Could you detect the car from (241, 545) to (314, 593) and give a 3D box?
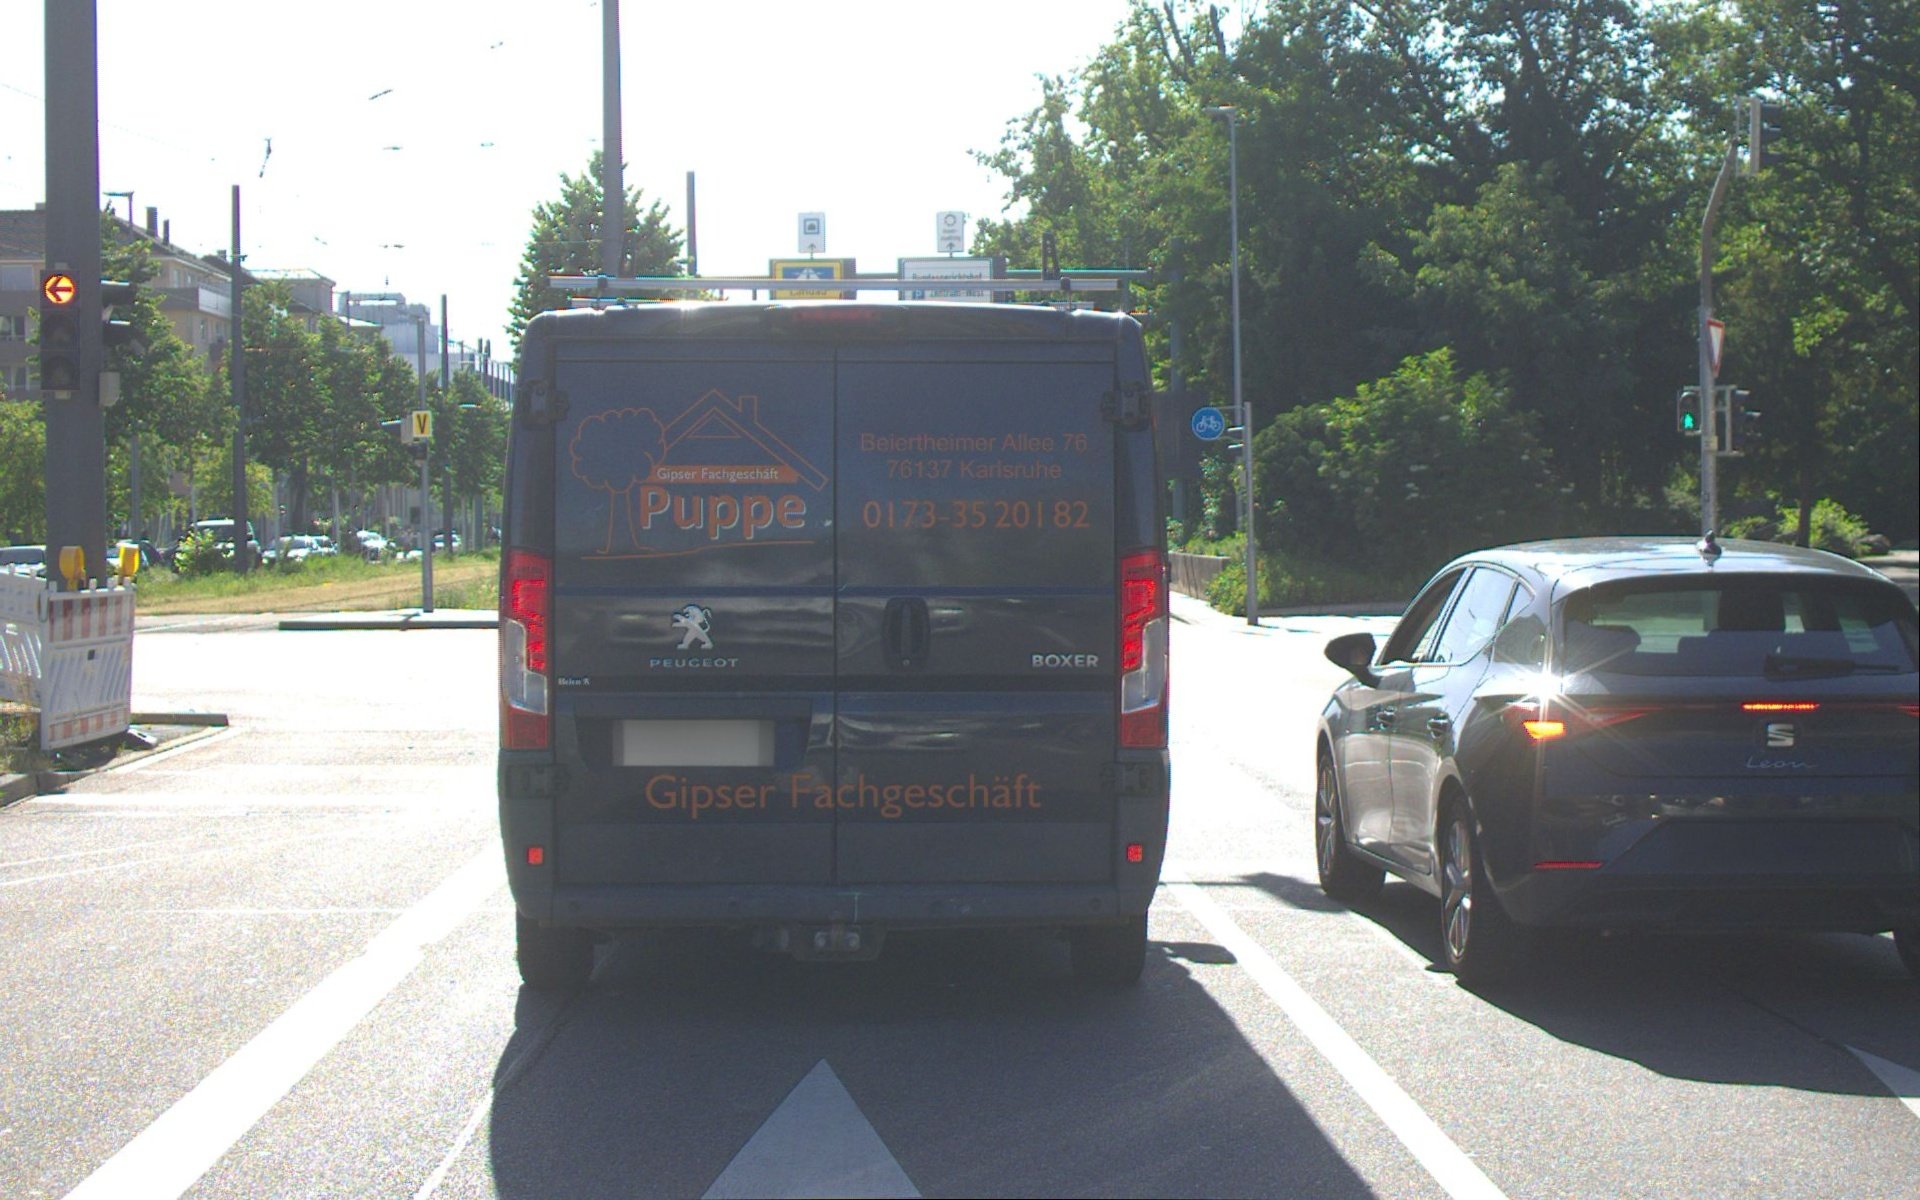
[{"bbox_3d":[-24.378,-1.127,122.919,1.790,1.645,4.000,-1,1,-1],"label":"car"}]

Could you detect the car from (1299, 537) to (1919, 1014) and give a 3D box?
[{"bbox_3d":[2.382,0.496,12.246,1.791,1.423,3.850,0,1,-3],"label":"car"}]

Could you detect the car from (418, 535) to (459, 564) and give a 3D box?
[{"bbox_3d":[-31.002,-2.995,204.473,1.790,1.645,4.000,-1,1,-1],"label":"car"}]

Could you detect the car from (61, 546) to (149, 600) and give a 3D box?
[{"bbox_3d":[-27.158,-0.872,109.316,1.790,1.645,4.000,-1,1,-1],"label":"car"}]

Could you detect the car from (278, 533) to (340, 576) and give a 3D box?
[{"bbox_3d":[-26.464,-1.863,139.886,1.790,1.645,4.000,-1,1,-1],"label":"car"}]

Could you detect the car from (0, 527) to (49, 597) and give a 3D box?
[{"bbox_3d":[-23.643,-0.933,83.869,1.790,1.645,4.000,-1,1,-1],"label":"car"}]

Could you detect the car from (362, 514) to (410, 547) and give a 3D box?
[{"bbox_3d":[-29.439,-3.581,176.307,1.790,1.645,4.000,-1,1,-1],"label":"car"}]

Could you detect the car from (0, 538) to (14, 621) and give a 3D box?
[{"bbox_3d":[-19.889,-0.364,66.895,1.790,1.645,4.335,-1,1,-1],"label":"car"}]

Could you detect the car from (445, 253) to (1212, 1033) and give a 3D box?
[{"bbox_3d":[-0.471,0.061,12.272,2.218,2.259,4.485,0,2,-2],"label":"car"}]
